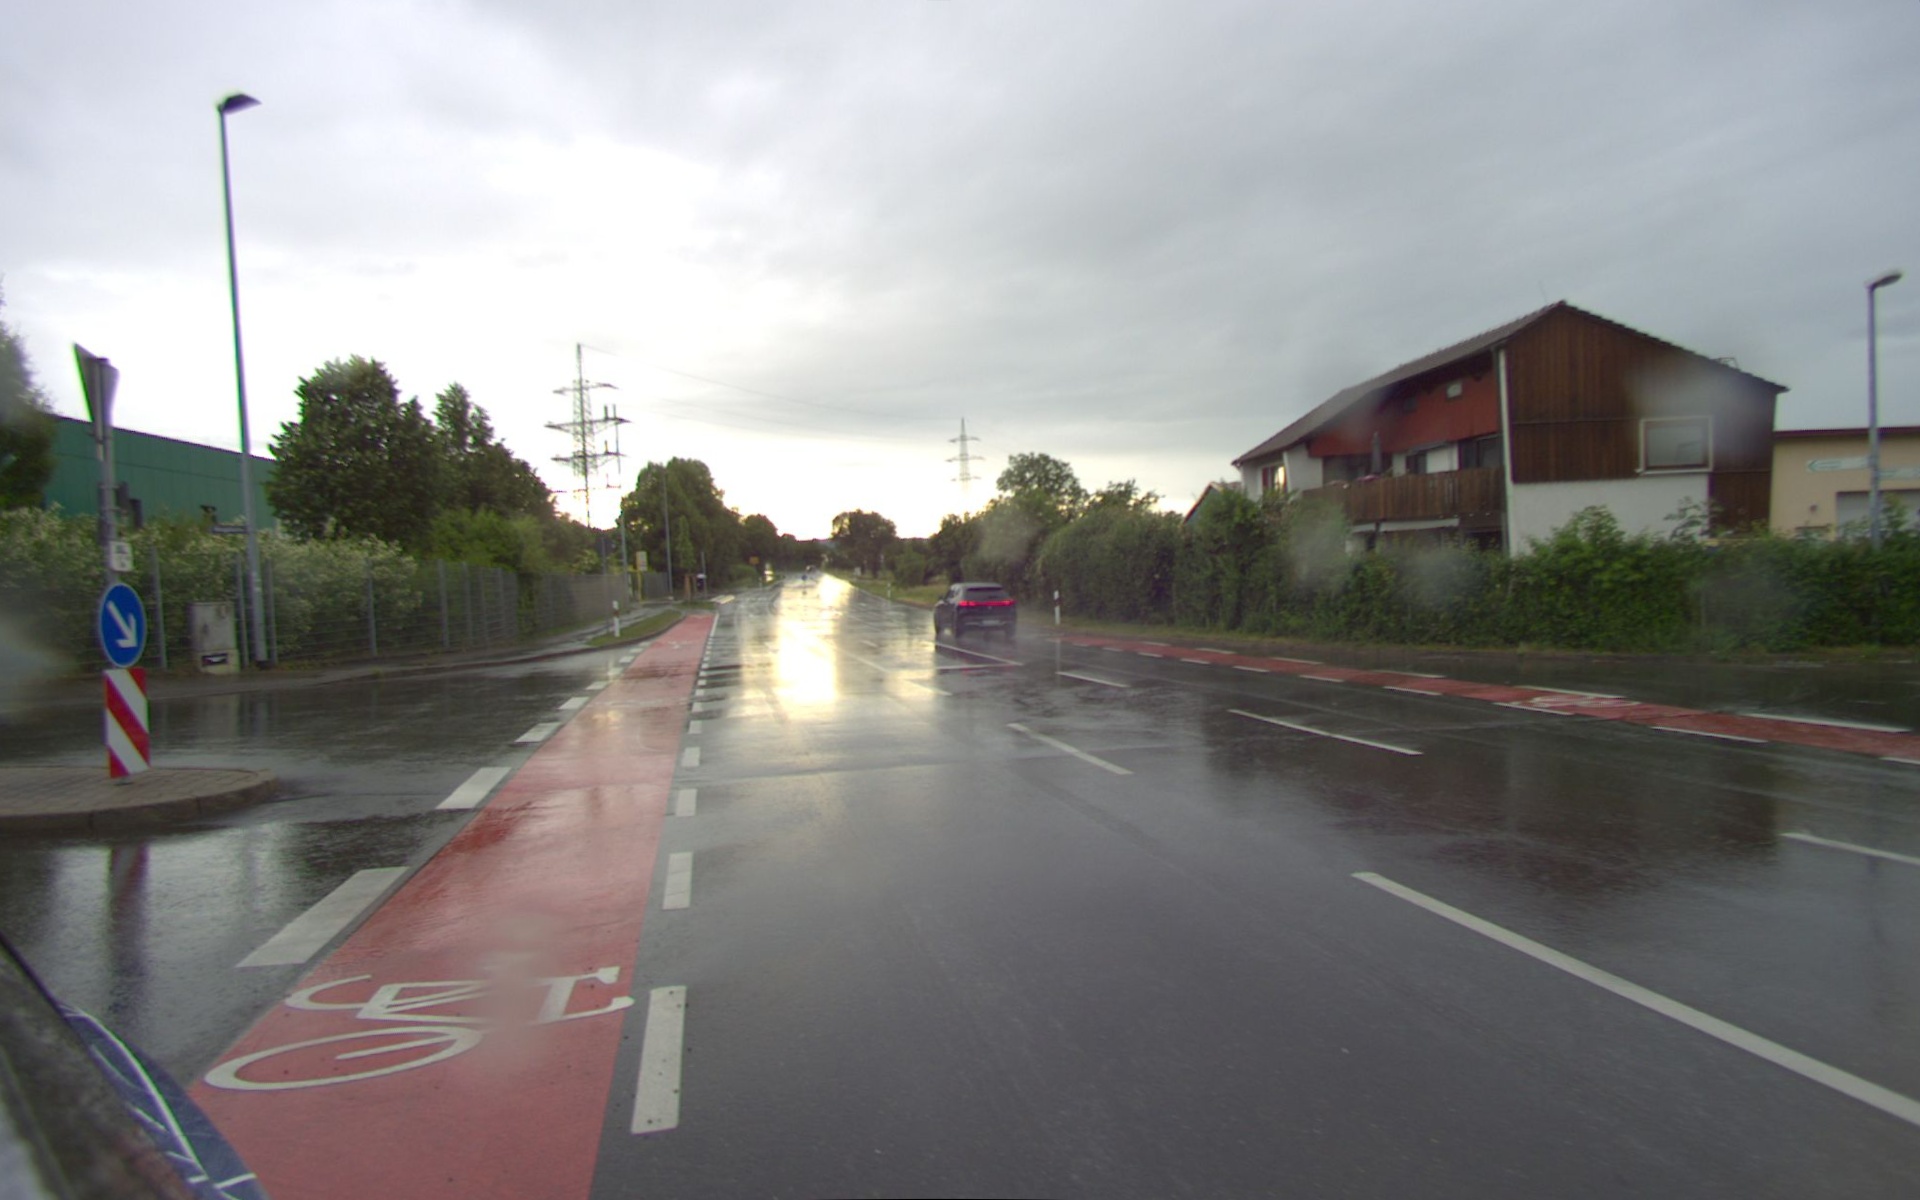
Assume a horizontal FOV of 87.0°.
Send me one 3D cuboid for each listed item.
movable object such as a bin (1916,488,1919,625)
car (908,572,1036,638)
[{"bbox_3d":[19.754,-0.813,18.386,3.287,2.576,1.741,0,0,-7],"label":"movable object such as a bin"},{"bbox_3d":[0.188,0.103,31.911,2.322,1.829,6.896,-1,1,-14],"label":"car"}]
